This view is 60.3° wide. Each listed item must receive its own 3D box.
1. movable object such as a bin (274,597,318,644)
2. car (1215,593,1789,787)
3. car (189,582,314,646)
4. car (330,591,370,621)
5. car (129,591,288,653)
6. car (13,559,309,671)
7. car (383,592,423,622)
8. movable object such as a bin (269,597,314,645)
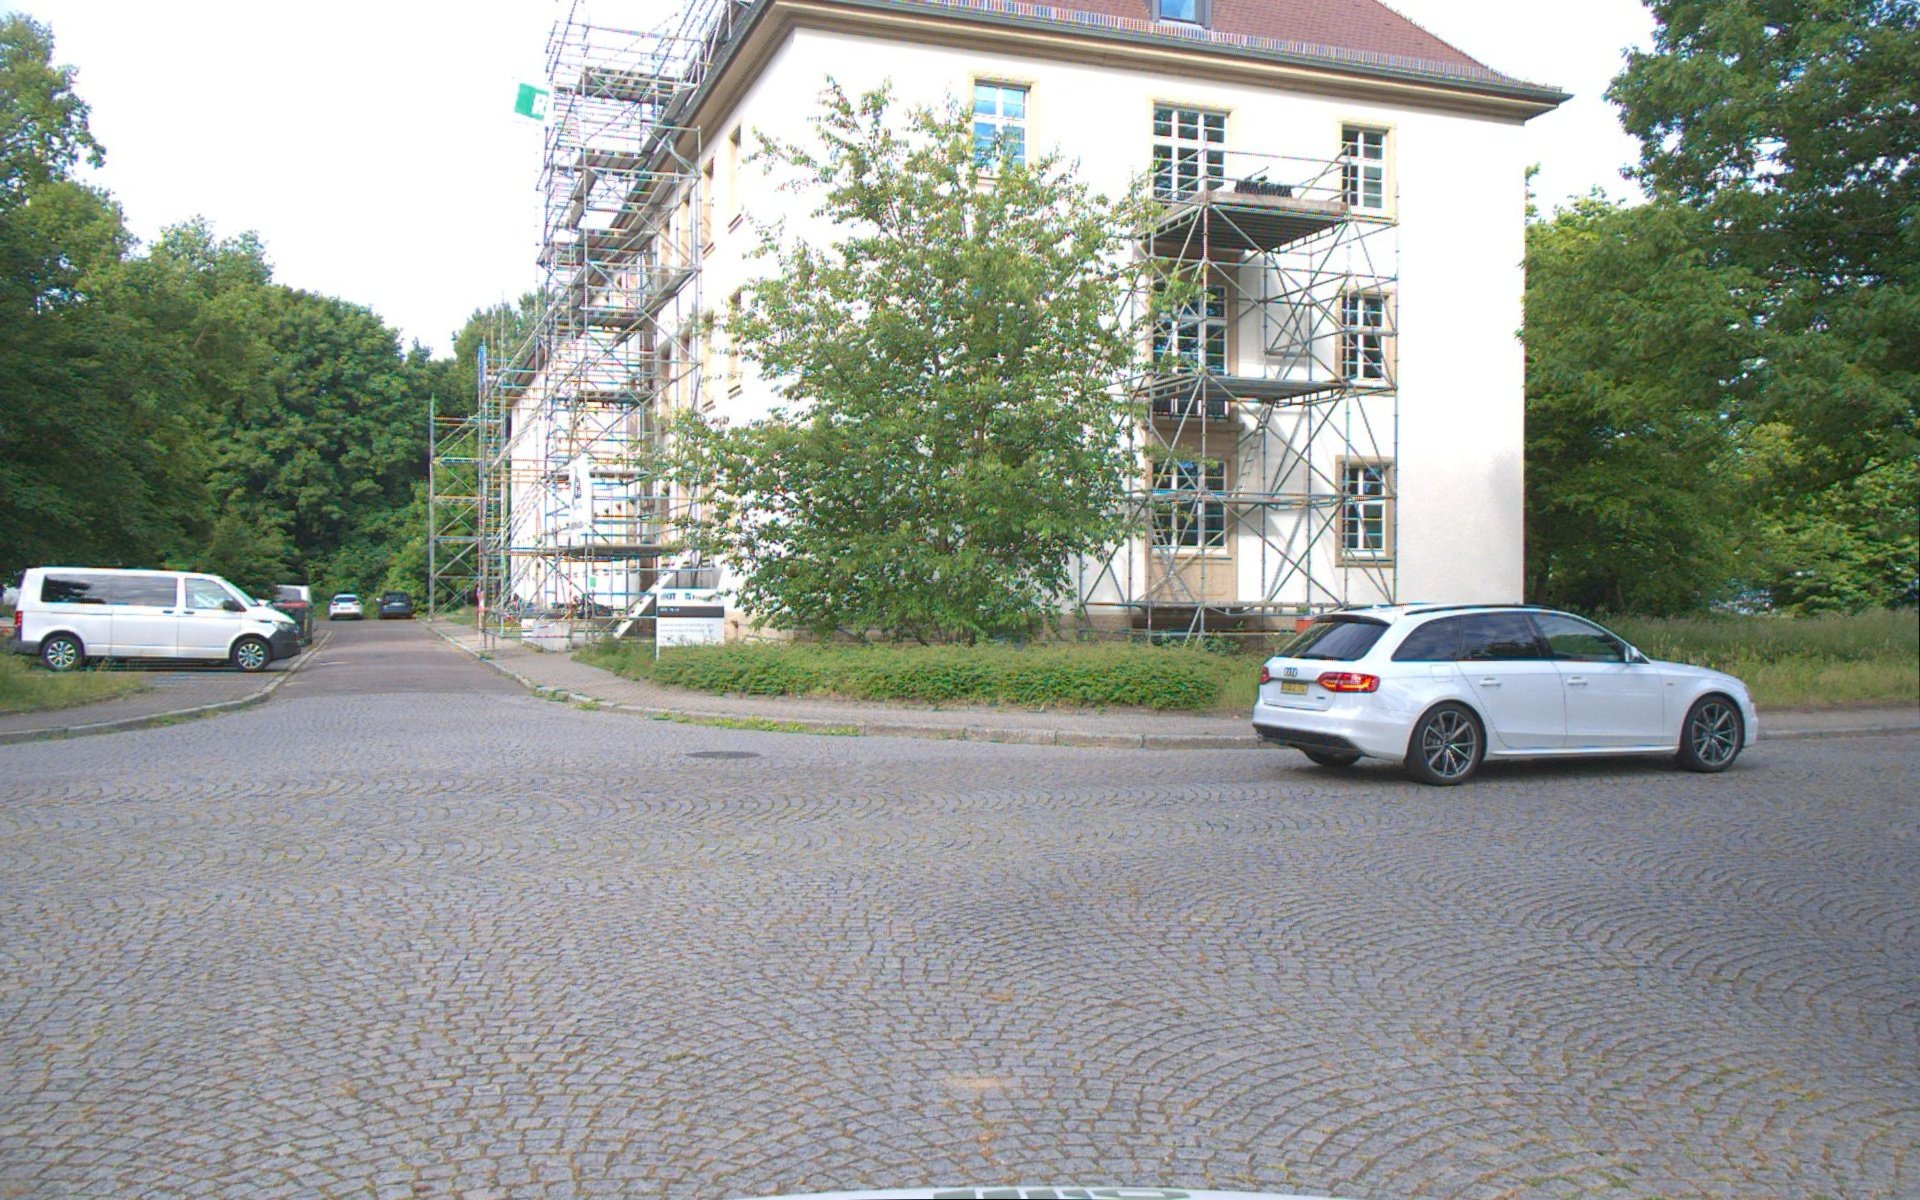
[{"bbox_3d":[-20.979,0.658,52.248,1.166,1.432,0.970,3,-2,-19],"label":"movable object such as a bin"},{"bbox_3d":[4.681,0.678,14.299,4.623,1.462,1.843,0,1,-21],"label":"car"},{"bbox_3d":[-25.243,0.512,59.009,3.935,2.049,1.907,3,-2,-24],"label":"car"},{"bbox_3d":[-35.427,0.360,96.034,1.974,1.575,3.931,3,-2,-22],"label":"car"},{"bbox_3d":[-20.509,0.607,45.278,3.564,1.507,1.815,3,-2,-12],"label":"car"},{"bbox_3d":[-15.913,0.334,33.314,5.126,2.096,2.174,1,-1,-21],"label":"car"},{"bbox_3d":[-32.814,0.420,97.490,2.031,1.621,3.981,3,-2,-17],"label":"car"},{"bbox_3d":[-20.671,0.646,51.138,1.166,1.432,0.970,3,-2,-19],"label":"movable object such as a bin"}]
